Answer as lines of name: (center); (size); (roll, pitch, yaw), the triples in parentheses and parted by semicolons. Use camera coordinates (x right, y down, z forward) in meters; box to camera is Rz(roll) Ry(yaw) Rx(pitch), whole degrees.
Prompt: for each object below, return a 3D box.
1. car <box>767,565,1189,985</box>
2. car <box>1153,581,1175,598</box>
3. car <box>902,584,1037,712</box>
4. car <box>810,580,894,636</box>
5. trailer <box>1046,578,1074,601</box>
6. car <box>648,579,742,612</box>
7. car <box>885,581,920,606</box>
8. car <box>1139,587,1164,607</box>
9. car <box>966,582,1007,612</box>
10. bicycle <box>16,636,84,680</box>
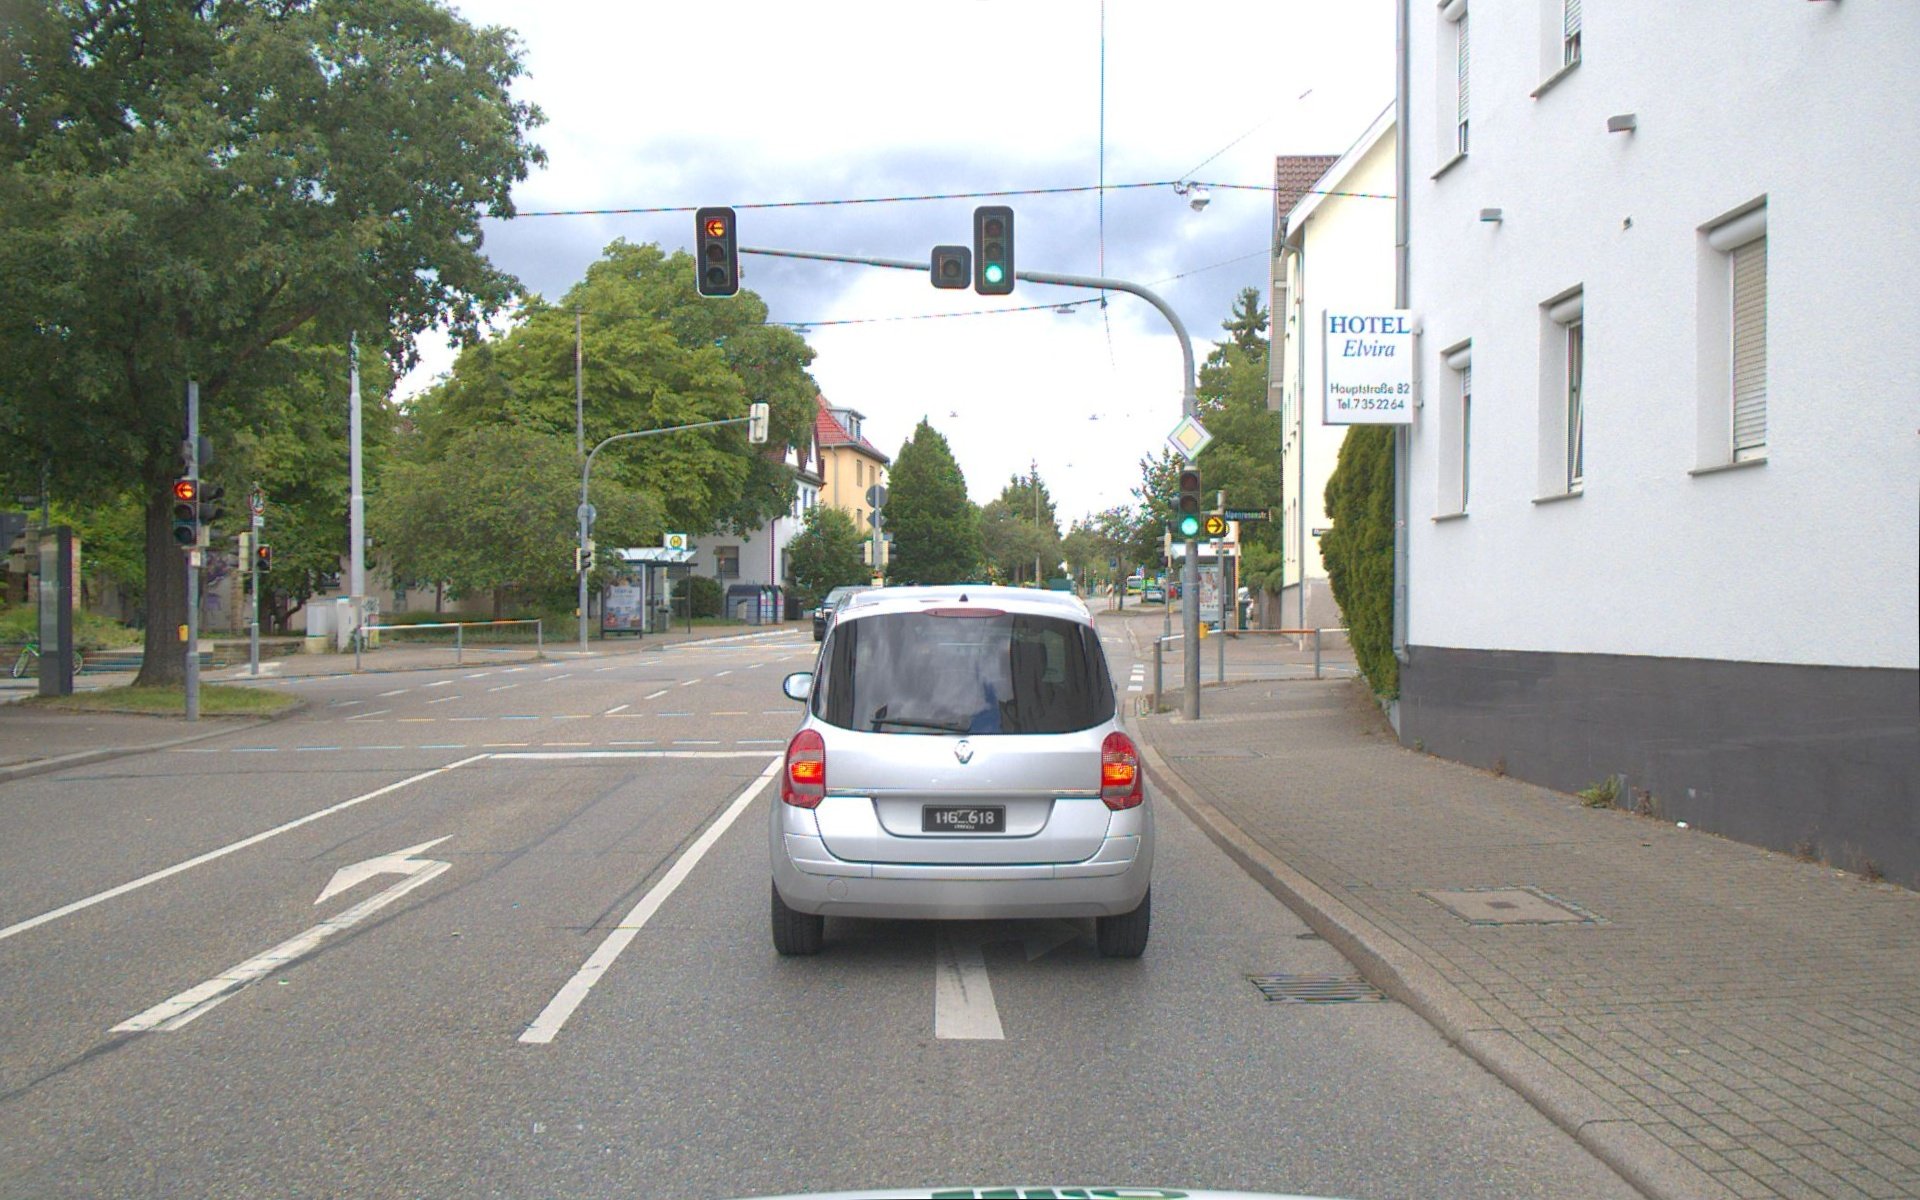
car: (0.113, 0.685, 8.374); (1.596, 1.584, 4.000); (1, 0, 1)
car: (17.587, -0.884, 142.264); (1.627, 1.417, 3.671); (0, 1, 11)
car: (0.209, 0.638, 23.882); (1.791, 1.705, 3.575); (-1, 0, 3)
car: (-3.423, 0.283, 53.174); (1.720, 1.663, 4.598); (-2, -1, 8)
trailer: (9.995, -1.055, 164.719); (2.263, 2.123, 5.877); (1, 0, 8)
car: (-12.160, -0.192, 76.041); (3.902, 1.355, 1.723); (-3, -1, 7)
car: (-3.945, -0.451, 114.584); (1.768, 1.591, 4.621); (-3, 1, 5)
car: (14.299, -0.202, 123.435); (1.615, 1.406, 4.003); (0, 0, 10)
car: (1.340, -0.125, 81.858); (1.530, 1.445, 4.133); (-1, -1, 8)
bicycle: (-21.565, 1.372, 39.218); (1.290, 0.958, 0.424); (-3, 0, -9)
